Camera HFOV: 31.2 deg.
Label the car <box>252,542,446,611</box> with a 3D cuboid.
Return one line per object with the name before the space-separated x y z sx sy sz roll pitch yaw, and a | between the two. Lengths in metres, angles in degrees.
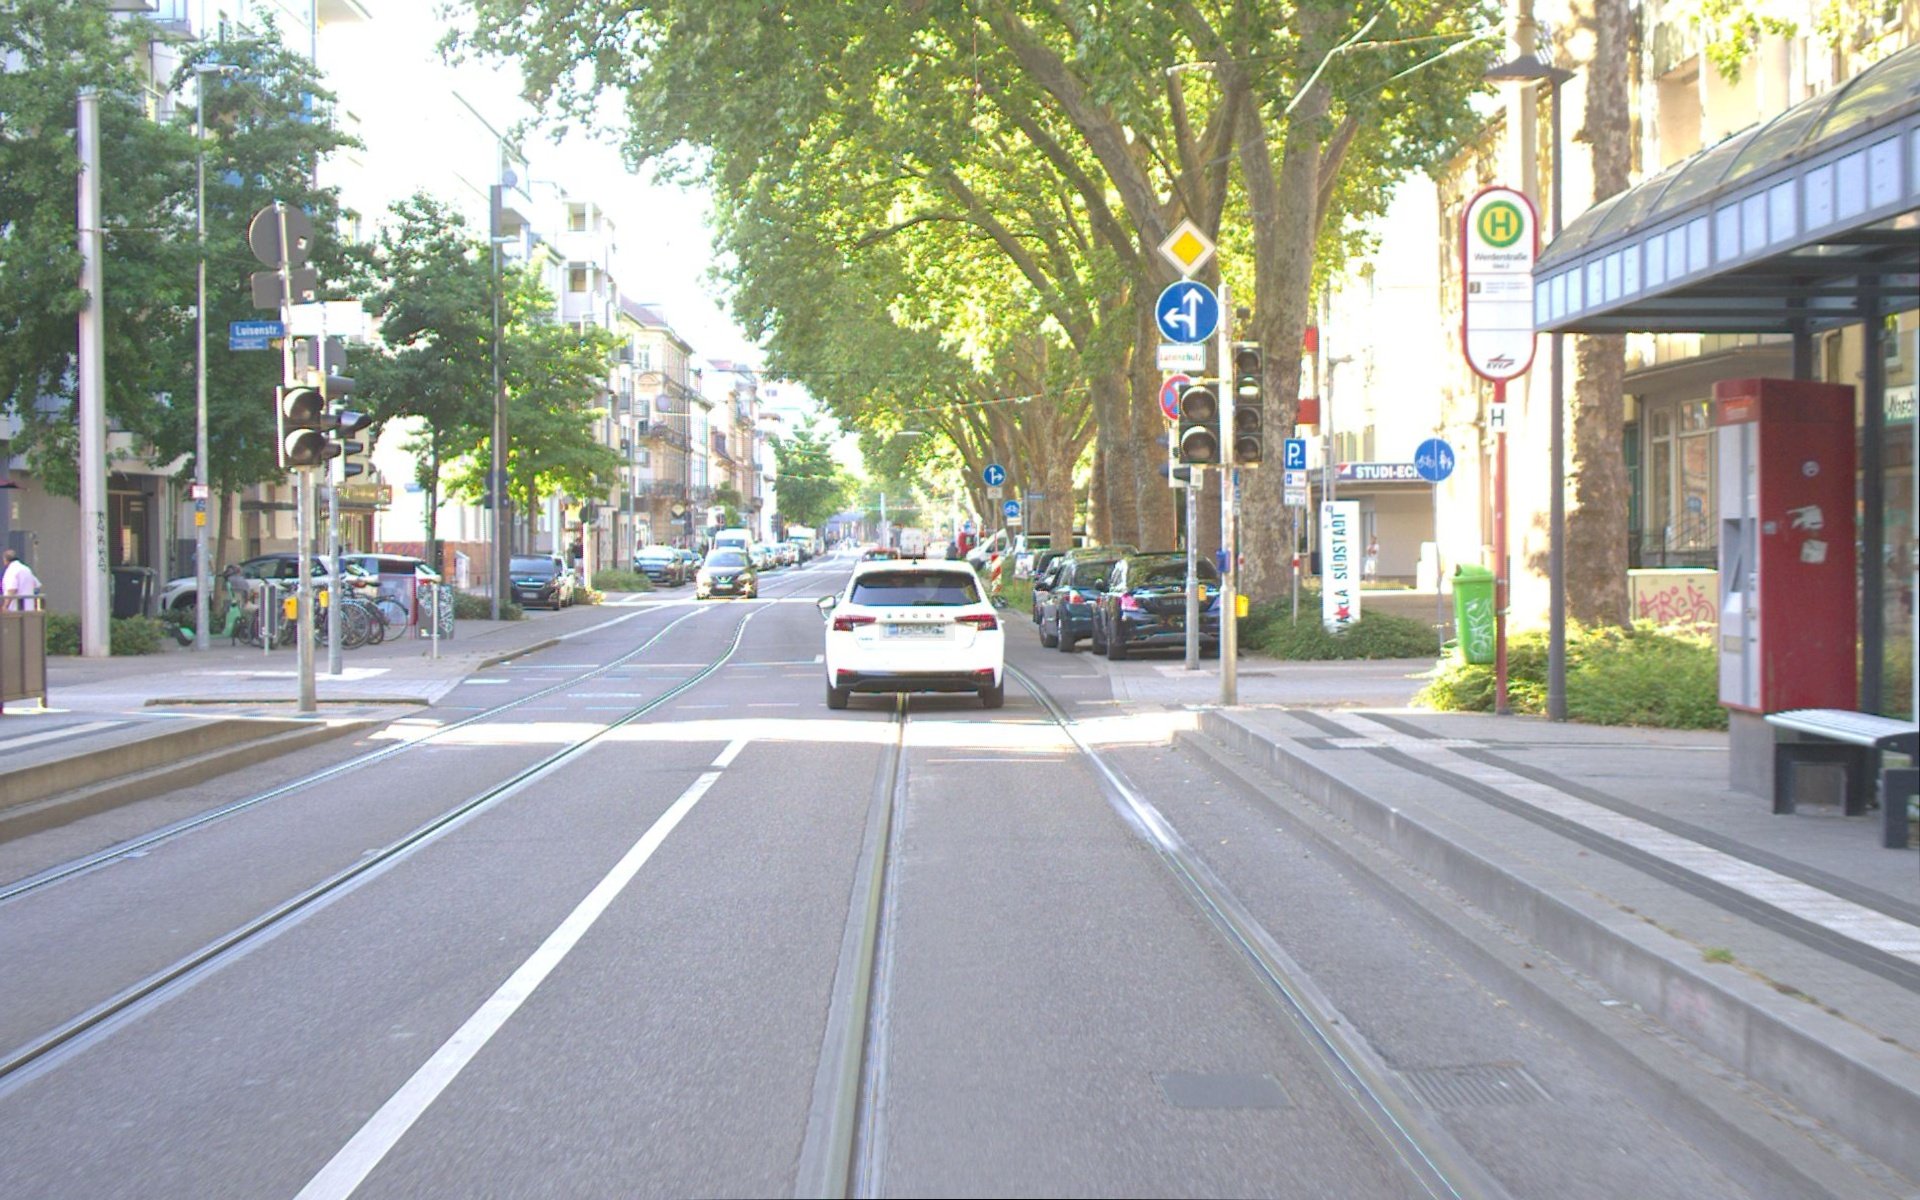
car | -13.523 -0.522 76.256 4.012 1.470 1.852 1 0 -3

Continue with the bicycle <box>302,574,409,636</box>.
bicycle | -10.070 0.086 57.306 1.690 1.004 0.658 1 0 -5

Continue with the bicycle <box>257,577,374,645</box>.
bicycle | -9.788 0.159 52.251 1.690 1.004 0.658 1 0 -5

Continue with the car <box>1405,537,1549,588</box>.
car | 16.280 -1.199 108.462 4.130 1.588 2.000 0 1 -6

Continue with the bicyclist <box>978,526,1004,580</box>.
bicyclist | 0.837 -1.268 92.580 0.678 1.438 1.047 -1 1 0

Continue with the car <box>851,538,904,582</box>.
car | -2.869 -1.418 120.735 1.761 1.470 4.000 -1 1 0

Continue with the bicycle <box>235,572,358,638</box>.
bicycle | -10.359 0.072 53.731 1.829 1.004 0.658 1 0 -5

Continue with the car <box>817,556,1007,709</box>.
car | -0.515 0.278 34.107 1.761 1.379 4.000 -1 1 -2

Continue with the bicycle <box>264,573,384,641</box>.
bicycle | -10.193 0.104 55.140 1.829 1.060 0.658 1 0 -5

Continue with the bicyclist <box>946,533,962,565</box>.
bicyclist | -0.251 -2.149 145.231 0.649 1.339 0.934 -1 1 -3

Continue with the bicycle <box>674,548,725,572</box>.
bicycle | -13.334 -2.038 175.721 2.524 1.168 0.719 2 -1 -7

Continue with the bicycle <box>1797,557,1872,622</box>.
bicycle | 13.908 -0.177 54.721 0.570 0.993 1.781 -2 1 -5

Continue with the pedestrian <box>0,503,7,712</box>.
pedestrian | -7.558 0.061 25.676 0.654 1.579 0.772 0 1 0

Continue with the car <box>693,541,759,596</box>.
car | -7.231 -0.990 106.618 1.871 1.584 4.147 2 1 -2

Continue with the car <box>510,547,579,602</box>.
car | -11.756 -0.738 97.519 1.713 1.459 4.378 3 0 -5

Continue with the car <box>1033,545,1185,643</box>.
car | 2.275 -0.125 53.646 1.864 1.432 4.227 -1 1 -4

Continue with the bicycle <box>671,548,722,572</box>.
bicycle | -13.384 -2.027 174.838 2.525 1.168 0.883 2 -1 -40

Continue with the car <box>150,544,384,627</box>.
car | -12.993 -0.276 64.598 4.012 1.470 1.852 1 0 0

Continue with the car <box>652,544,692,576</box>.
car | -13.184 -1.829 157.635 1.653 1.432 3.837 0 1 -2

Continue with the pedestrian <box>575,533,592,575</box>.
pedestrian | -16.383 -2.012 149.643 0.663 1.820 0.965 0 1 -2

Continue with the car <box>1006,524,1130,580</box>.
car | 4.069 -1.806 130.094 4.543 2.069 2.001 0 1 -3

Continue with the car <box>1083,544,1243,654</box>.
car | 2.808 -0.053 48.593 1.764 1.457 5.013 0 1 -2

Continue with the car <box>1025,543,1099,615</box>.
car | 2.235 -0.459 75.508 1.564 1.514 2.910 -2 0 1

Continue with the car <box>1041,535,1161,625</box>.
car | 2.650 -0.378 65.515 1.857 1.598 4.782 -2 0 -2

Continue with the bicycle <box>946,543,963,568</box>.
bicycle | -0.242 -1.883 145.223 0.649 1.067 1.583 -1 1 -3

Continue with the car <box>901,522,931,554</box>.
car | -3.315 -4.671 257.614 2.202 2.379 4.000 0 1 -1

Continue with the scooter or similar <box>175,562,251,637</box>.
scooter or similar | -11.769 -0.010 54.147 1.079 1.172 0.498 1 0 -2

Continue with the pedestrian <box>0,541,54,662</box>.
pedestrian | -12.190 0.015 44.595 0.725 1.551 0.769 -1 1 -6

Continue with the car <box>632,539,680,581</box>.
car | -12.546 -1.654 142.019 1.702 1.645 4.242 2 1 -2

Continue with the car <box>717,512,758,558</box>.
car | -14.030 -4.119 217.239 2.342 2.851 4.000 0 1 -1

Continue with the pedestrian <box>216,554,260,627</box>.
pedestrian | -12.875 -0.174 61.306 0.712 1.293 0.748 -1 1 -15

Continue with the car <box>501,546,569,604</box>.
car | -11.475 -0.684 92.735 1.713 1.459 4.001 3 0 -8

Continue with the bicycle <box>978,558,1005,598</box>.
bicycle | 0.847 -0.594 92.616 0.681 1.067 1.781 -1 1 0

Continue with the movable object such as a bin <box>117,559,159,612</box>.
movable object such as a bin | -16.514 -0.297 69.053 0.678 1.052 0.622 -1 1 1

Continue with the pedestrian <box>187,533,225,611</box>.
pedestrian | -16.444 -0.621 74.985 0.663 1.685 0.749 0 1 -2

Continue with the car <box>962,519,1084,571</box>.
car | 3.242 -2.835 177.077 6.129 2.626 2.529 0 1 -2

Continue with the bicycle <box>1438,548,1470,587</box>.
bicycle | 14.201 -0.930 98.864 0.582 1.100 1.923 -2 1 -1

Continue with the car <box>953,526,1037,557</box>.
car | 2.603 -4.383 255.912 6.129 2.274 2.529 0 1 -2

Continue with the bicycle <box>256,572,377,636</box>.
bicycle | -10.251 0.062 54.819 1.829 1.004 0.658 1 0 -5

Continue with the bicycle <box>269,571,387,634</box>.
bicycle | -10.272 0.043 55.951 1.829 1.004 0.658 1 0 -5

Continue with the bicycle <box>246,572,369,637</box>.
bicycle | -10.274 0.069 54.173 1.829 1.004 0.658 1 0 -5
